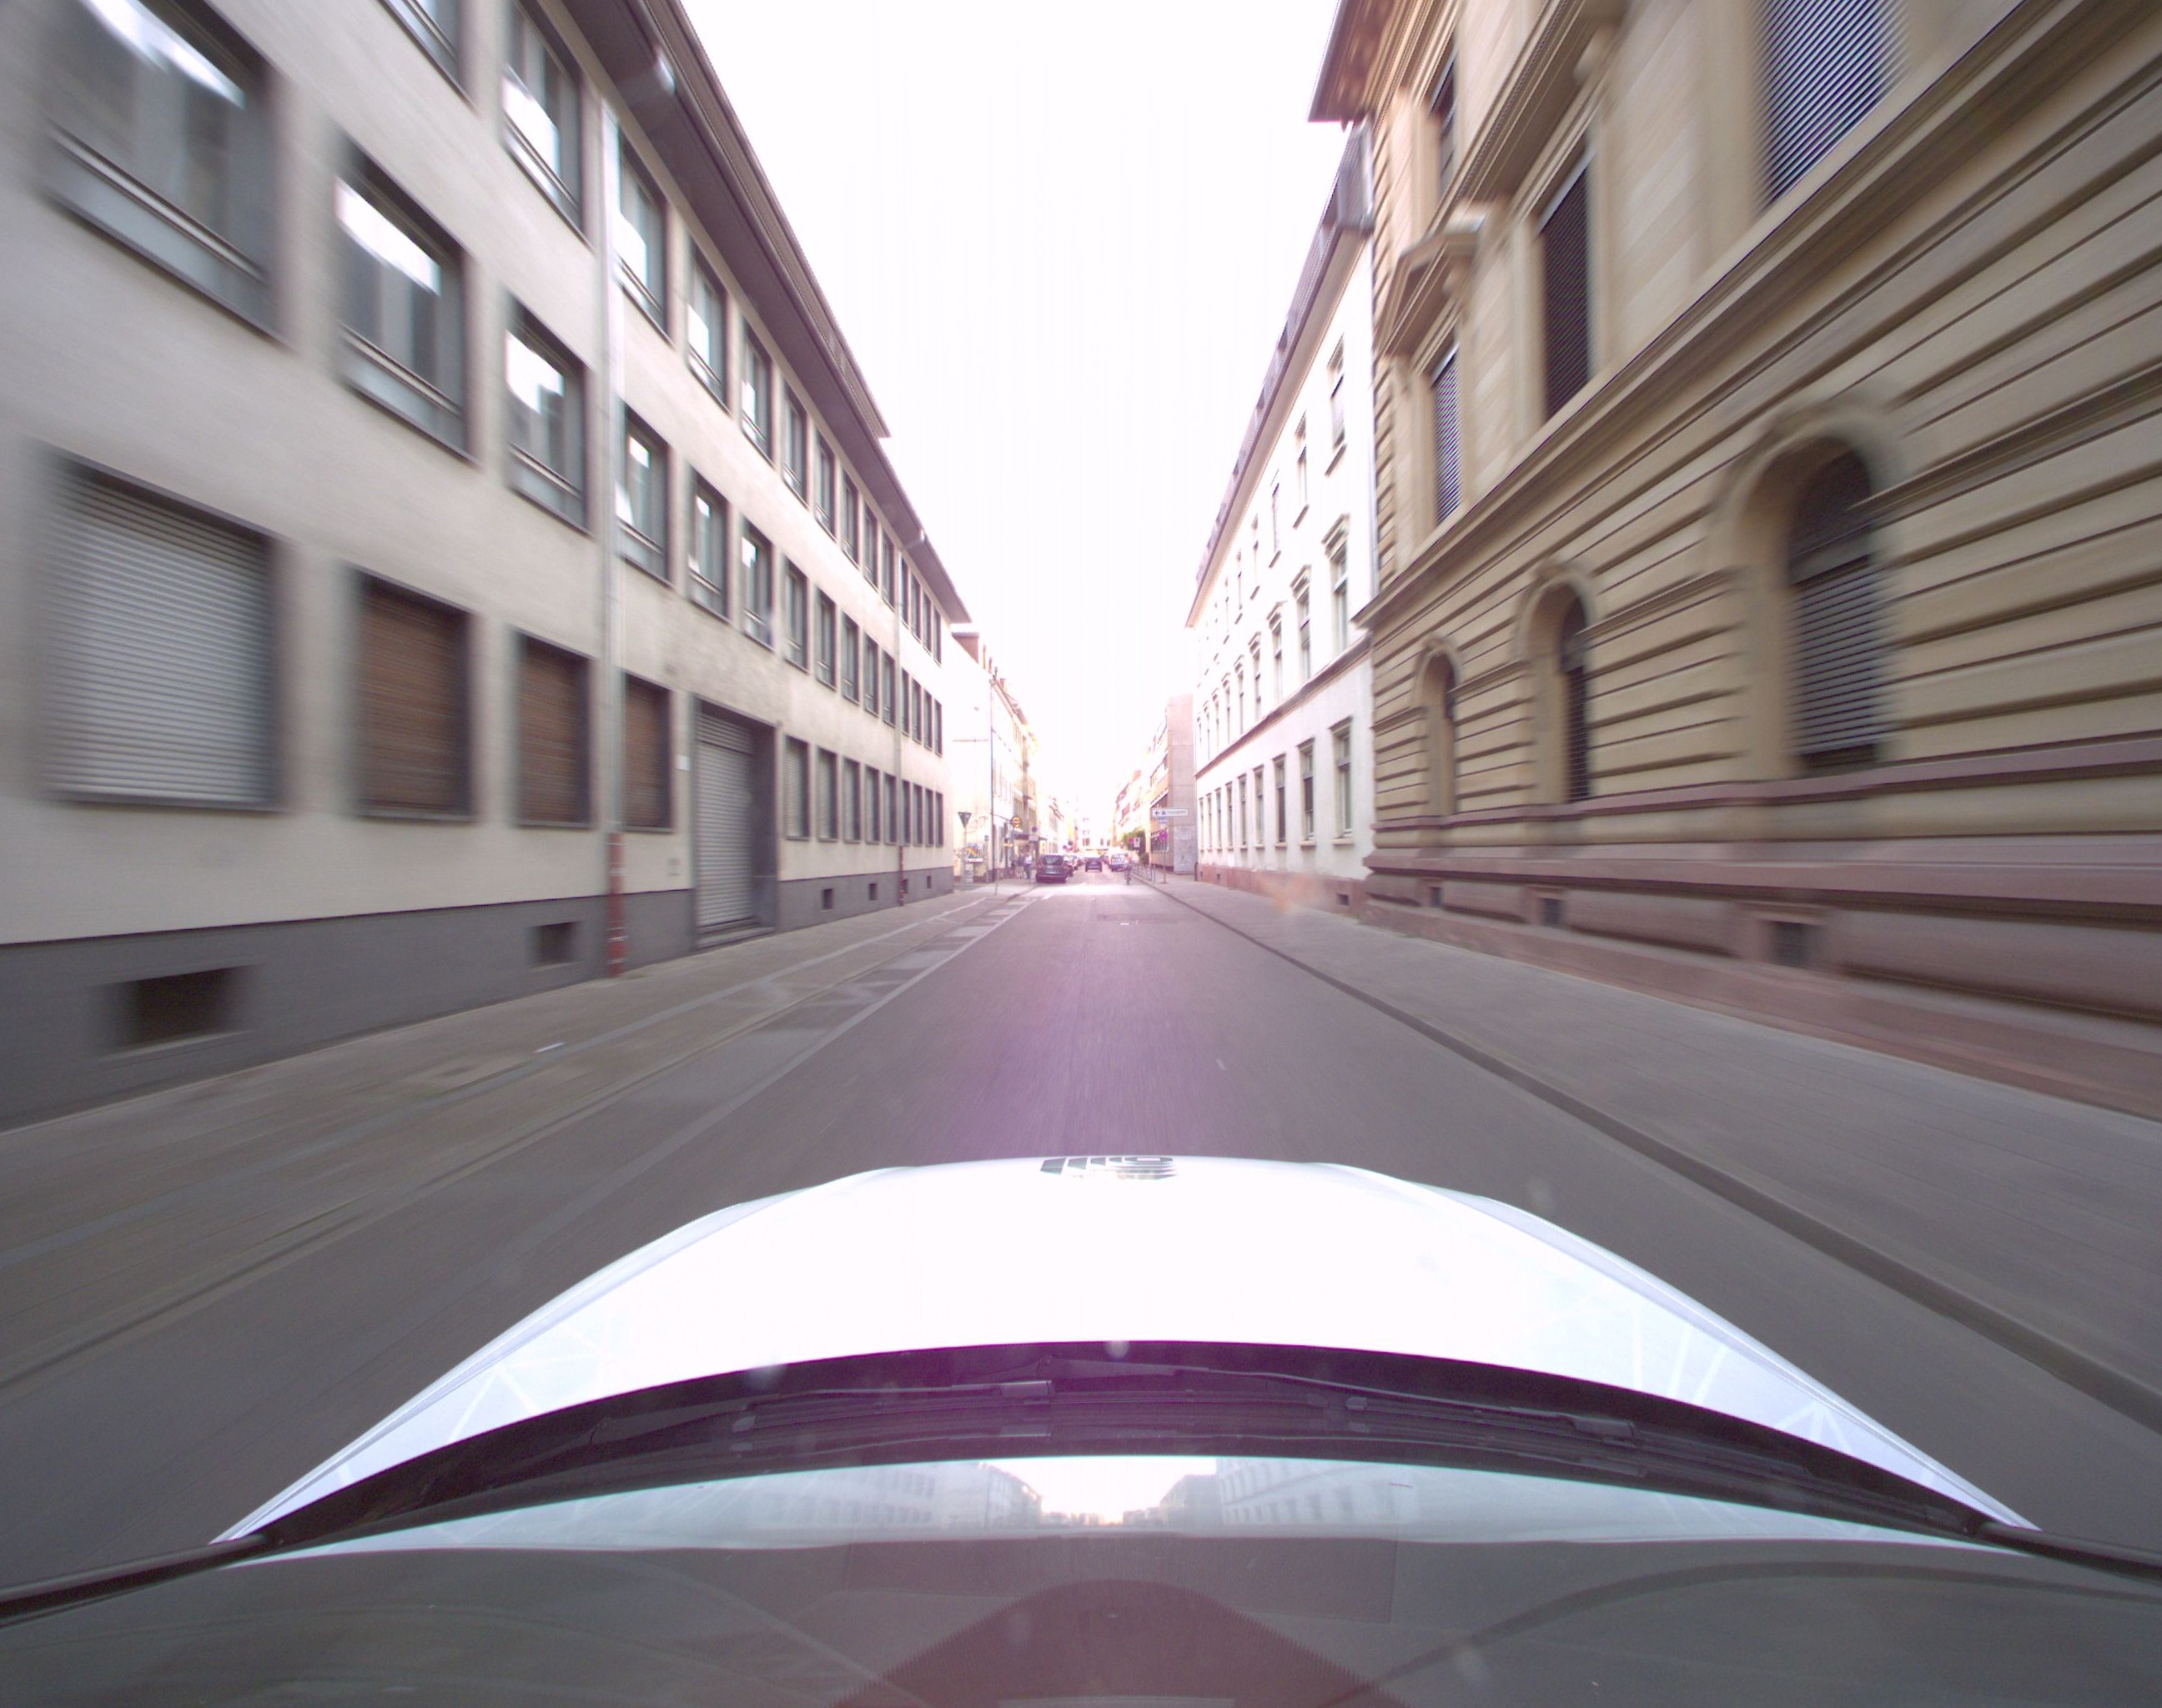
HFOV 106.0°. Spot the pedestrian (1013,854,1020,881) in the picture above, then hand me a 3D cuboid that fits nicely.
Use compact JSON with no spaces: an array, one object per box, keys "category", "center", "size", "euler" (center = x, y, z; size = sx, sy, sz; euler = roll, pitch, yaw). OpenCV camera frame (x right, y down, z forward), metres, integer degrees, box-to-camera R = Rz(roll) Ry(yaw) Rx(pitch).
[{"category":"pedestrian","center":[-4.342,0.905,54.748],"size":[0.404,1.750,0.470],"euler":[0,-1,2]}]

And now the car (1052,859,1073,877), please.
[{"category":"car","center":[-1.475,1.113,66.471],"size":[1.619,1.416,3.979],"euler":[0,-1,0]}]

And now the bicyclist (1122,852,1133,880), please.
[{"category":"bicyclist","center":[2.655,0.688,46.828],"size":[0.618,1.574,0.684],"euler":[0,-1,2]}]

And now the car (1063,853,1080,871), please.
[{"category":"car","center":[-1.118,0.946,96.657],"size":[1.857,2.013,5.104],"euler":[-1,0,0]}]

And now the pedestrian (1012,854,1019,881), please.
[{"category":"pedestrian","center":[-4.371,0.901,54.246],"size":[0.404,1.750,0.470],"euler":[0,-1,2]}]

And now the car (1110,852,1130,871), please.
[{"category":"car","center":[4.028,0.728,85.445],"size":[1.929,1.898,5.278],"euler":[-1,0,1]}]

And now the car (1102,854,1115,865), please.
[{"category":"car","center":[4.250,0.791,124.887],"size":[1.812,1.530,5.074],"euler":[-4,-1,2]}]

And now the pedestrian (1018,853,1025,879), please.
[{"category":"pedestrian","center":[-4.091,0.830,55.784],"size":[0.404,1.750,0.470],"euler":[0,-1,2]}]

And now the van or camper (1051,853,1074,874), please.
[{"category":"van or camper","center":[-1.652,0.845,74.527],"size":[1.765,1.848,4.180],"euler":[-1,0,2]}]

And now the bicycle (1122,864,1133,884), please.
[{"category":"bicycle","center":[2.660,1.132,46.900],"size":[0.611,1.082,1.810],"euler":[0,-1,2]}]

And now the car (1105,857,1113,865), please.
[{"category":"car","center":[5.337,1.277,155.339],"size":[1.647,1.561,3.606],"euler":[0,0,1]}]

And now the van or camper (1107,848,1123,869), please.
[{"category":"van or camper","center":[4.389,0.574,105.387],"size":[2.042,2.637,7.065],"euler":[-1,0,2]}]

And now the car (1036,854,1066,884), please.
[{"category":"car","center":[-1.893,0.910,51.657],"size":[1.872,1.811,4.447],"euler":[0,0,-2]}]

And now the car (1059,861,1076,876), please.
[{"category":"car","center":[-1.375,1.447,83.914],"size":[1.656,1.449,3.521],"euler":[2,-1,1]}]

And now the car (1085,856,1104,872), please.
[{"category":"car","center":[1.369,1.003,83.170],"size":[1.813,1.618,4.000],"euler":[0,0,1]}]

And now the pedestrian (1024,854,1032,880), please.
[{"category":"pedestrian","center":[-3.599,0.904,55.320],"size":[0.447,1.750,0.470],"euler":[0,-1,2]}]
